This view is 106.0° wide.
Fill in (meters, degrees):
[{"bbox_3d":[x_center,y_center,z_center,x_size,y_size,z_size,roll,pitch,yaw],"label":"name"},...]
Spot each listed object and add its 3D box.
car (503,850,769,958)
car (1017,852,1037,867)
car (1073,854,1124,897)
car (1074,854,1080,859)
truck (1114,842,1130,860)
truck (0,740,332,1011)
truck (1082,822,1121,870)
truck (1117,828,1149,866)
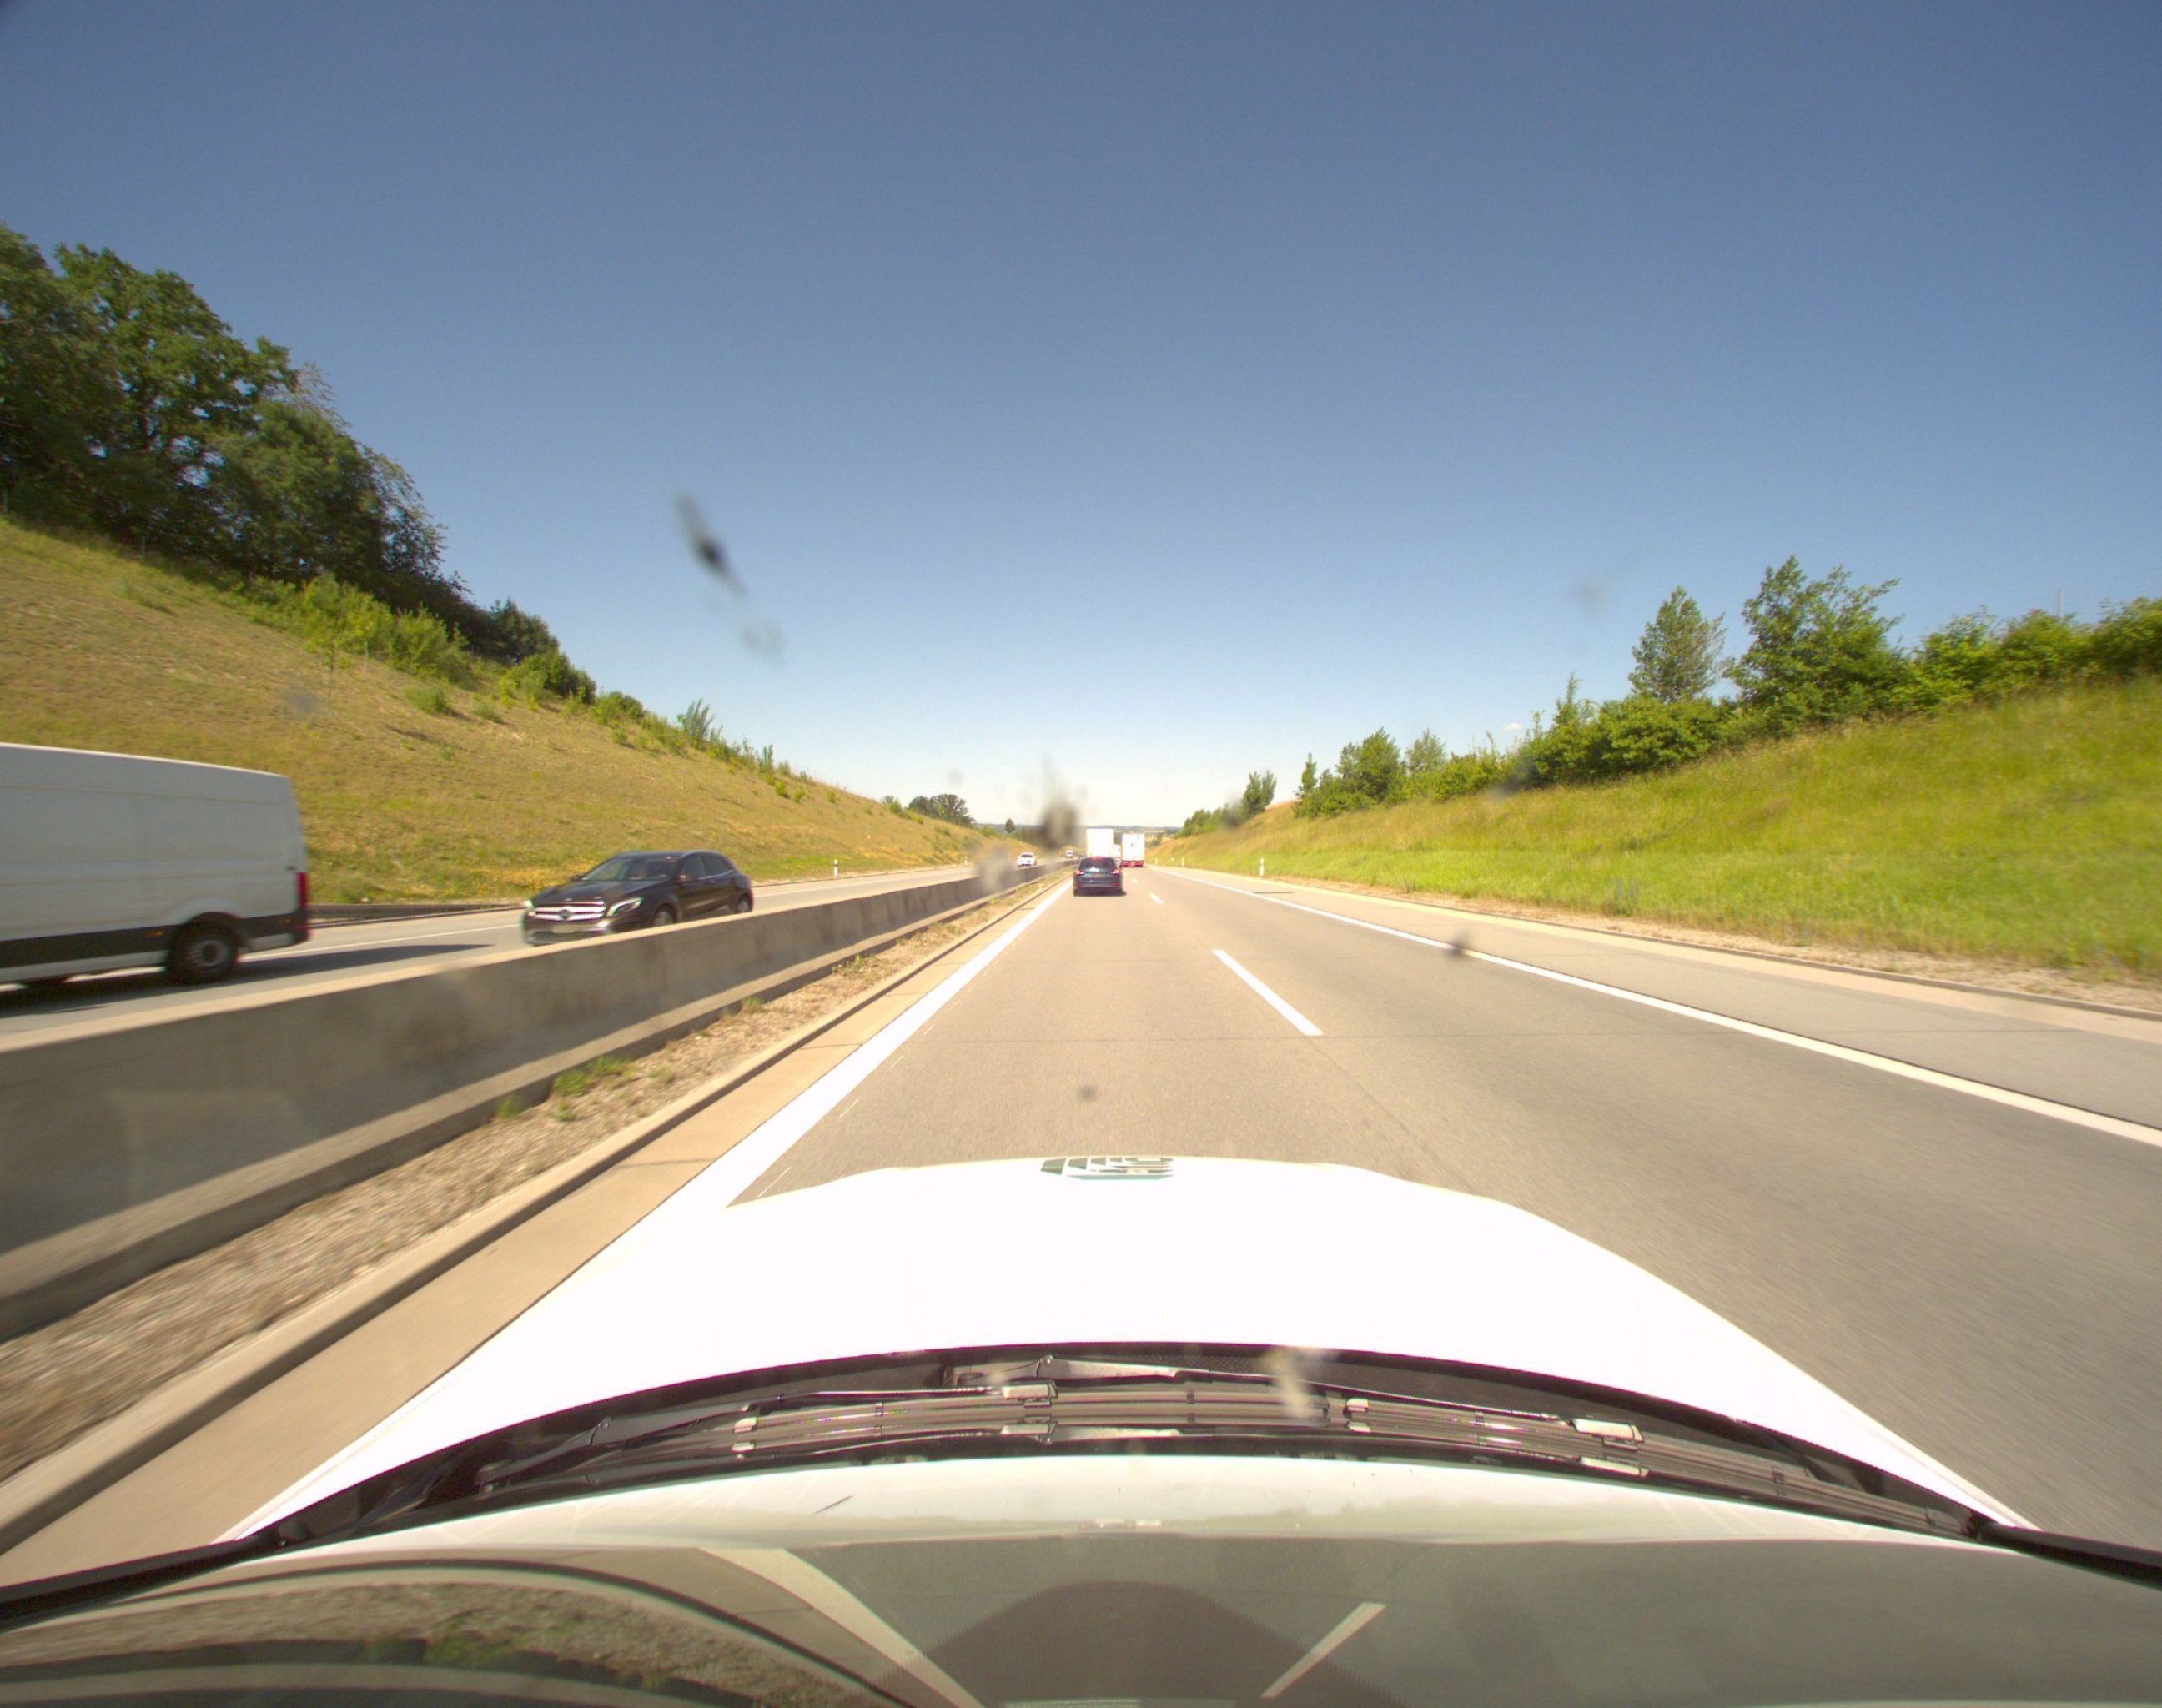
[{"bbox_3d":[-6.866,0.675,13.213,1.847,1.461,4.334,0,0,1],"label":"car"},{"bbox_3d":[-5.694,0.561,86.264,1.769,1.601,4.040,0,0,1],"label":"car"},{"bbox_3d":[0.627,0.754,30.381,1.771,1.441,3.789,-1,0,0],"label":"car"},{"bbox_3d":[-1.185,0.725,243.852,1.768,1.449,4.182,0,0,-1],"label":"car"},{"bbox_3d":[10.256,-0.675,203.812,3.588,4.381,11.246,0,0,4],"label":"truck"},{"bbox_3d":[-10.855,0.196,7.637,2.105,2.460,5.952,0,0,1],"label":"truck"},{"bbox_3d":[2.178,-0.748,81.148,3.196,4.381,11.248,0,0,5],"label":"truck"},{"bbox_3d":[6.423,-0.812,99.745,3.588,4.381,11.246,0,0,4],"label":"truck"}]
